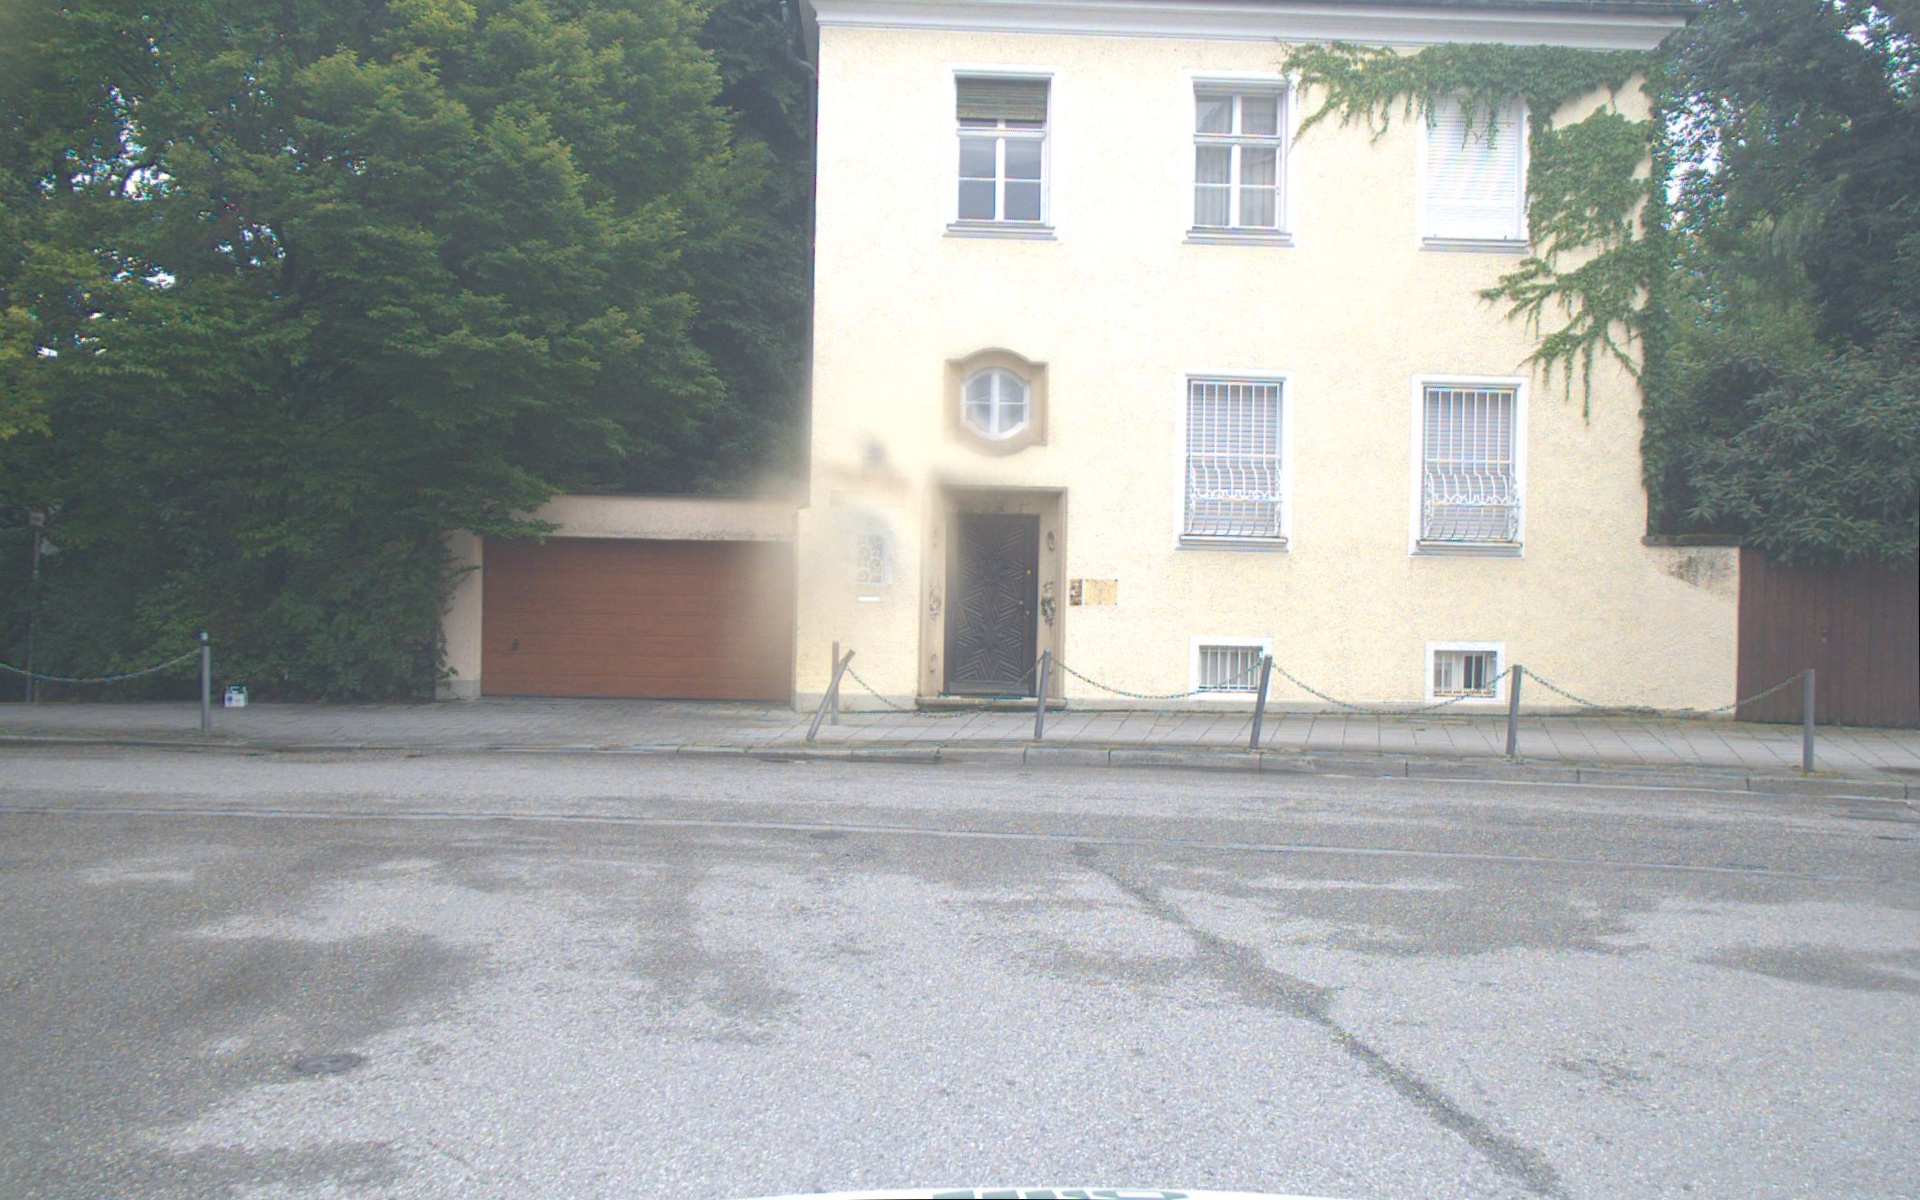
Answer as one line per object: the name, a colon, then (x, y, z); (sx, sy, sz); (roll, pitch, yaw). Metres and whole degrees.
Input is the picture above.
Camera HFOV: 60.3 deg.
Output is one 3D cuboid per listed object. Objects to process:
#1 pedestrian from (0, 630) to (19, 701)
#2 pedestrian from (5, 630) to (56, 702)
pedestrian: (-16.498, 1.117, 28.332); (0.461, 1.176, 0.497); (1, 0, -3)
pedestrian: (-15.961, 1.129, 28.419); (0.574, 1.189, 0.497); (1, 0, -3)
